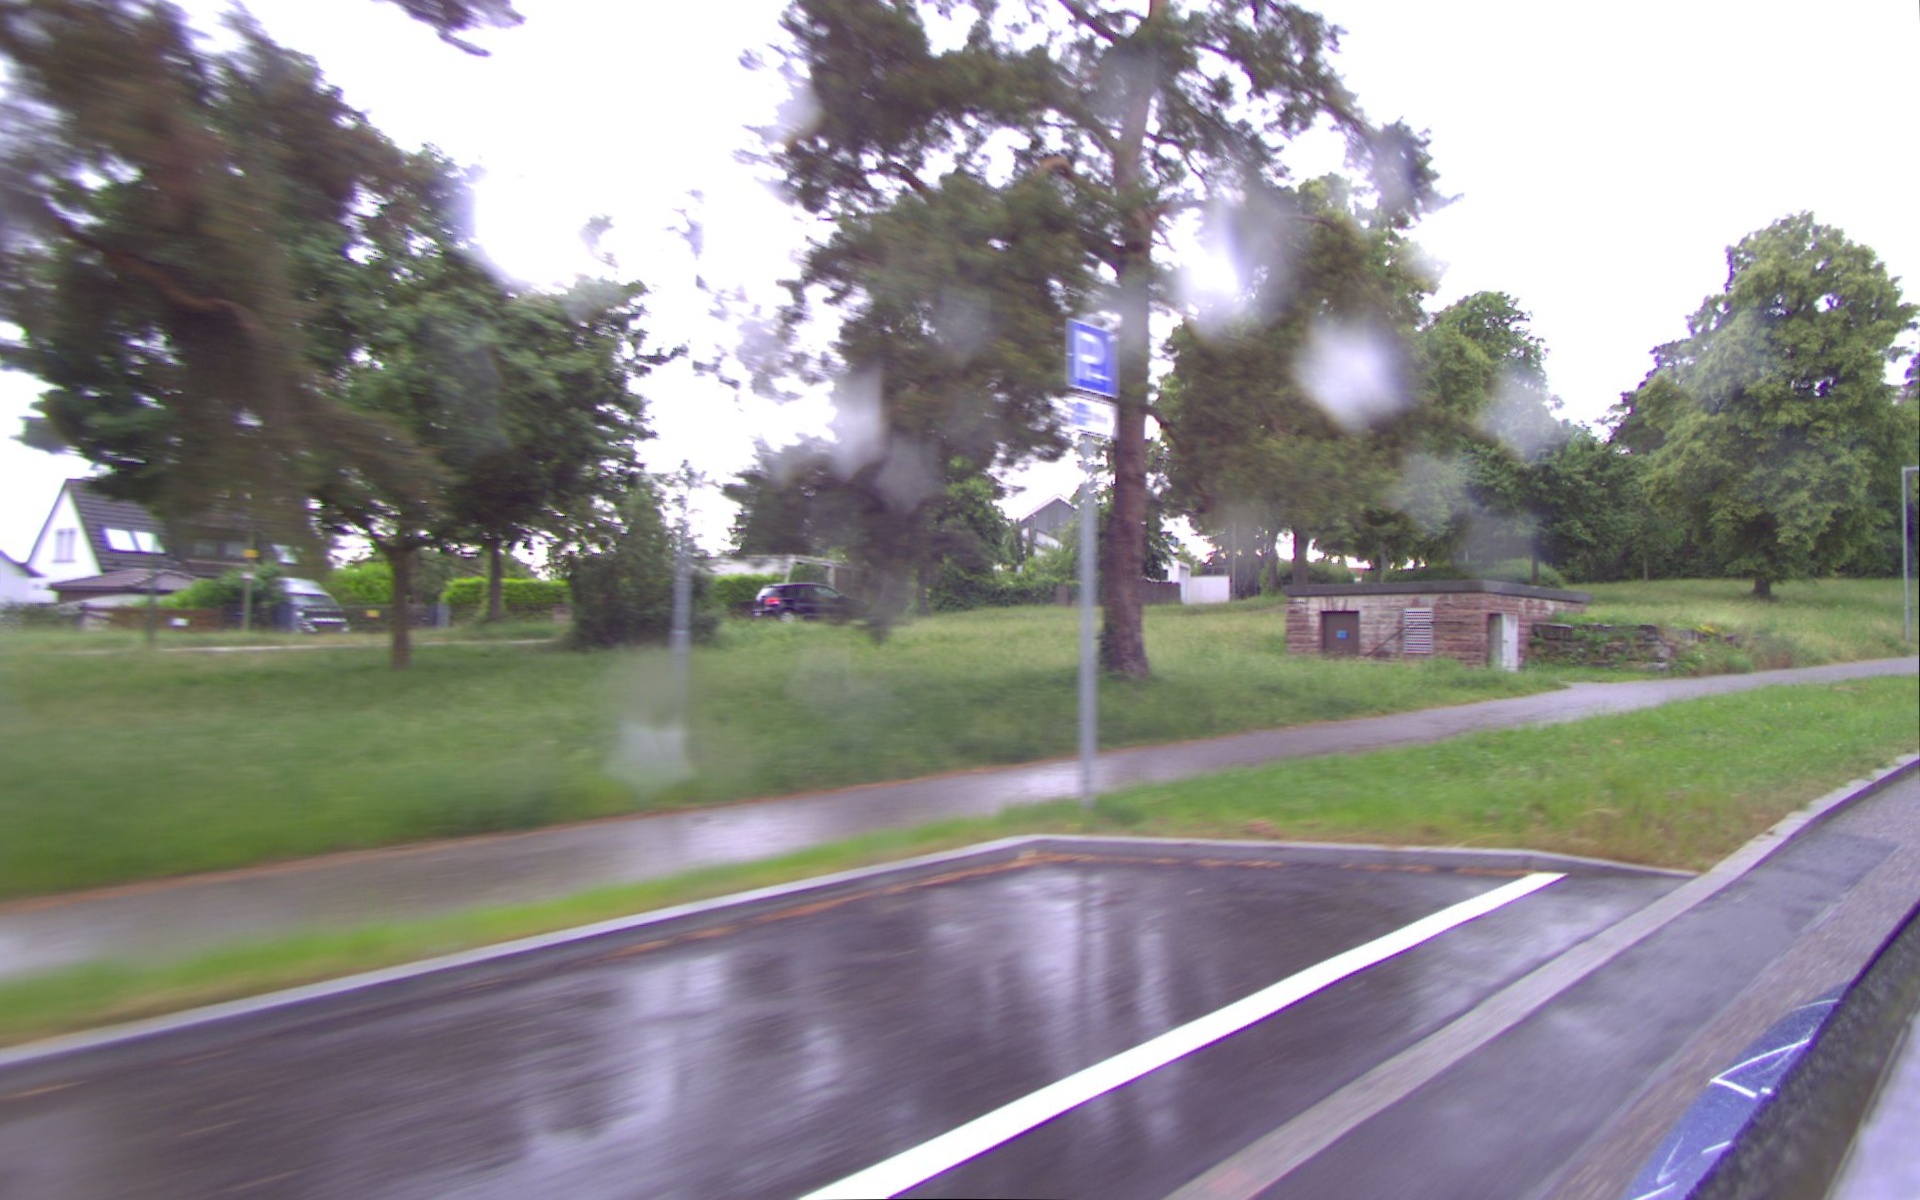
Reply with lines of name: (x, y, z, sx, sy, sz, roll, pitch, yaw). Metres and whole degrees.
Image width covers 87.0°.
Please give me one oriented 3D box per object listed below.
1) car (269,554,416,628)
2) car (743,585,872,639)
car: (-23.696, -0.358, 38.715, 6.652, 2.530, 2.576, 1, -2, 39)
car: (-5.123, 0.369, 34.074, 3.919, 1.673, 1.834, -1, 0, -29)
